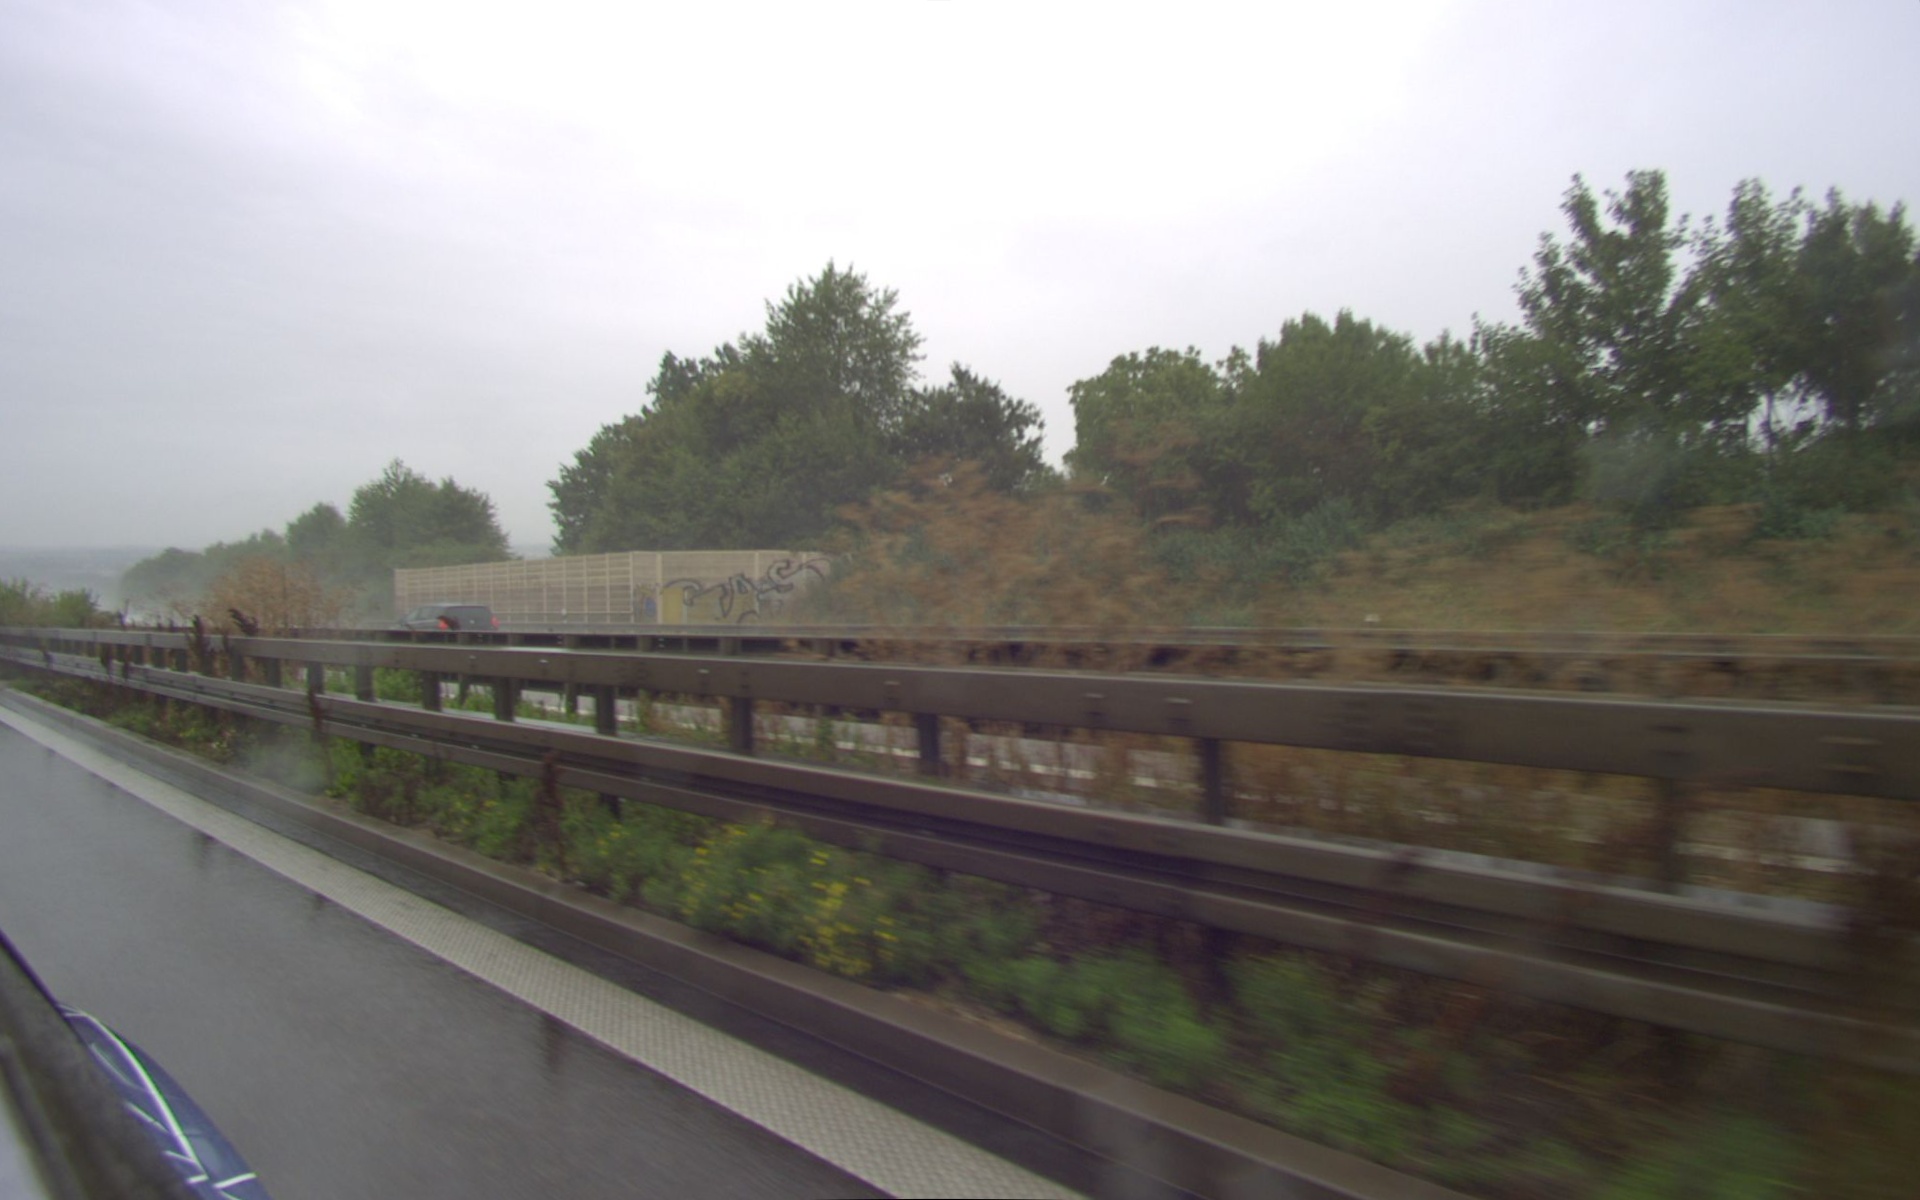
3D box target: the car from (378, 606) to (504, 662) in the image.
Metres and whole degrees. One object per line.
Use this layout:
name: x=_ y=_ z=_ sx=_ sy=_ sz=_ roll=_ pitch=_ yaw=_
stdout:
car: x=-15.326 y=0.968 z=29.824 sx=3.998 sy=1.475 sz=1.973 roll=-1 pitch=0 yaw=41
